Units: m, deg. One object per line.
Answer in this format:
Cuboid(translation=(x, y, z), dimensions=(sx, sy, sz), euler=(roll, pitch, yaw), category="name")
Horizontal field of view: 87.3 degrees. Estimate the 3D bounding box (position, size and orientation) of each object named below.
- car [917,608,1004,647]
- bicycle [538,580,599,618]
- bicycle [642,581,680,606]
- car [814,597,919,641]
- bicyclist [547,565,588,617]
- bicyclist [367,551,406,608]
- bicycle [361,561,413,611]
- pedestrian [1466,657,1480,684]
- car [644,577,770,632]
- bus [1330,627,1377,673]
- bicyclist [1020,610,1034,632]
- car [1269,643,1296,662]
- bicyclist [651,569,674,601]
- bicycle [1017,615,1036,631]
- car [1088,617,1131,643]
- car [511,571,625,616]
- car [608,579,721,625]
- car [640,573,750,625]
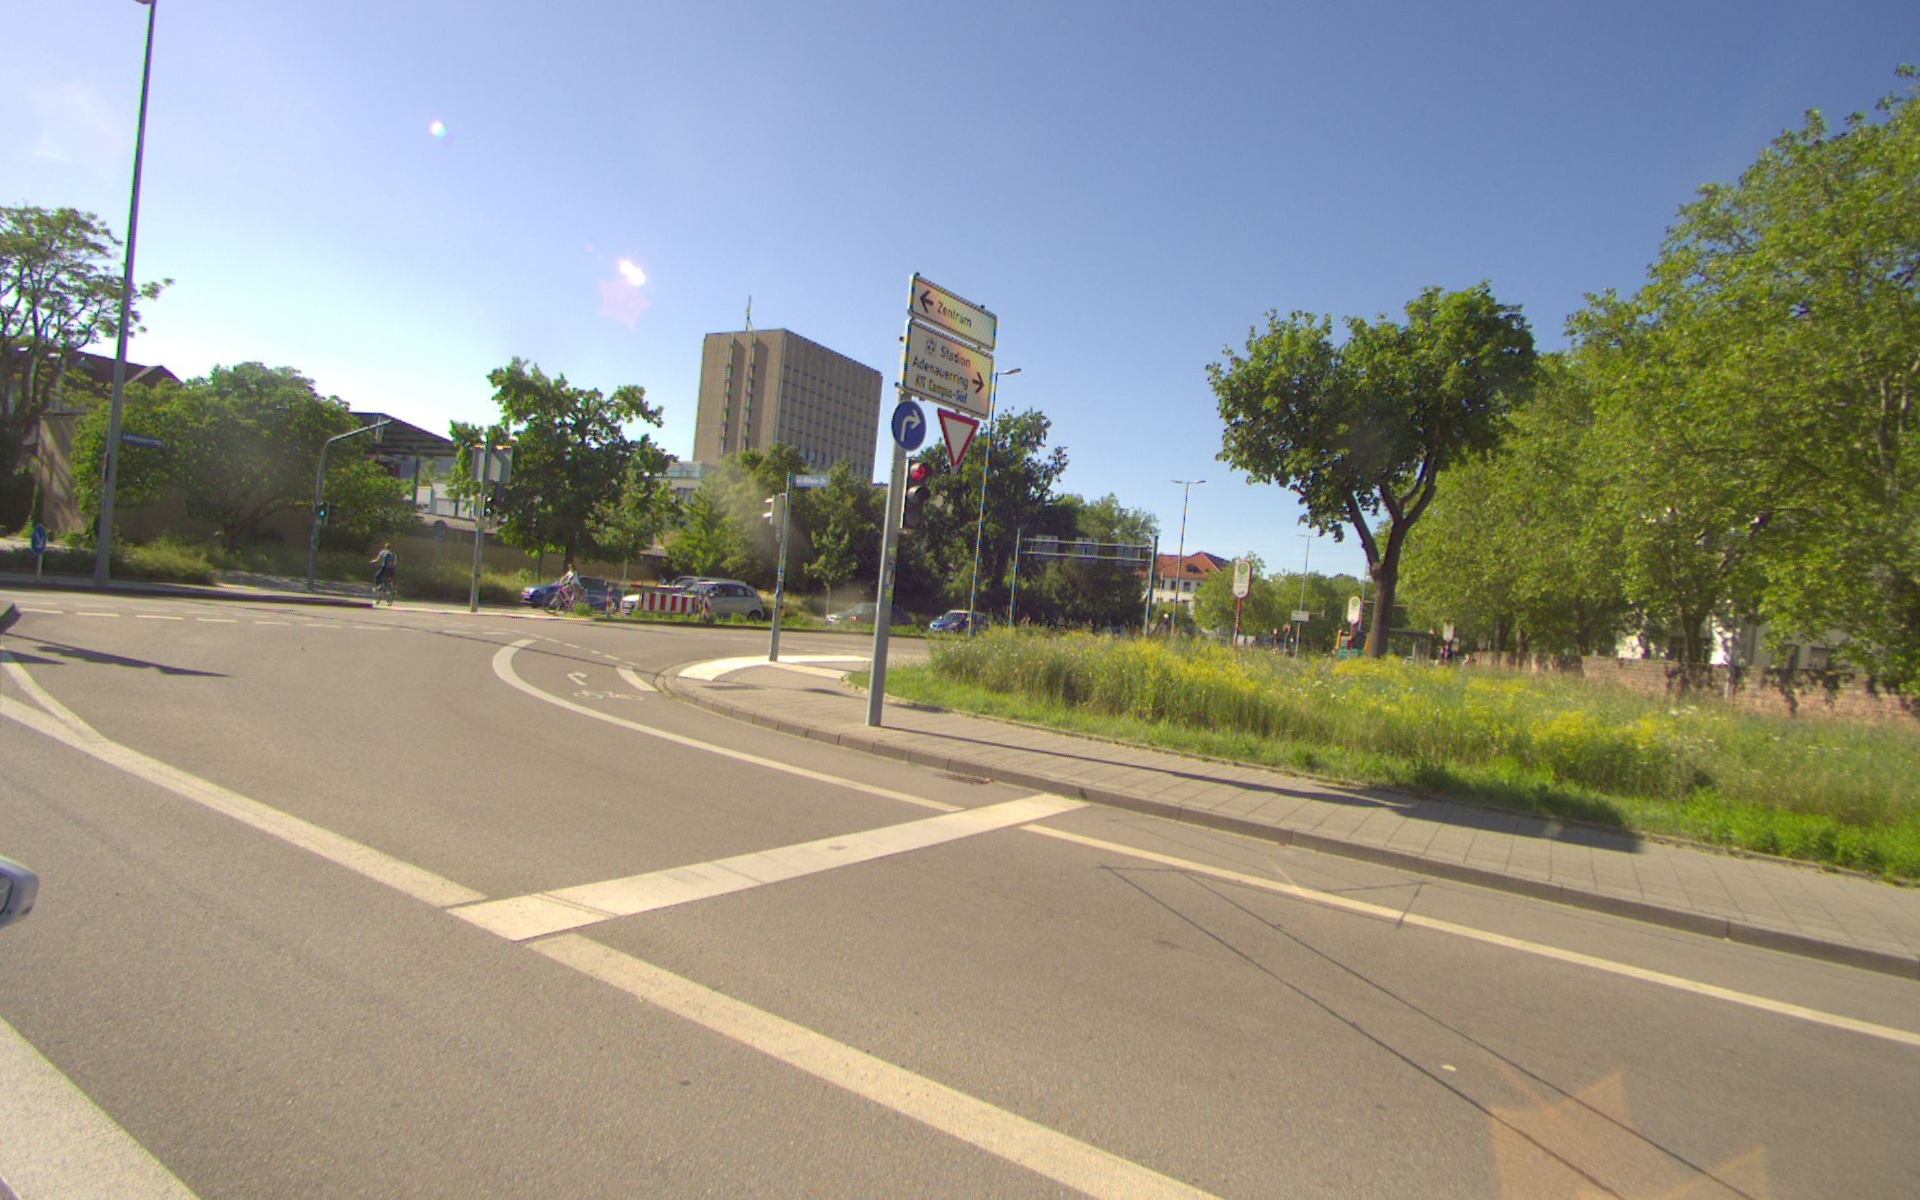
Cuboid(translation=(0.081, 1.398, 50.420), dimensions=(1.953, 1.573, 4.709), euler=(4, -2, 35), category="car")
Cuboid(translation=(-13.671, -0.014, 35.183), dimensions=(0.736, 1.180, 1.864), euler=(6, 1, 33), category="bicycle")
Cuboid(translation=(-15.920, -0.345, 53.565), dimensions=(0.632, 1.180, 1.952), euler=(9, 2, 30), category="bicycle")
Cuboid(translation=(-4.053, 0.879, 44.407), dimensions=(1.953, 1.573, 4.709), euler=(4, -2, 35), category="car")
Cuboid(translation=(-13.696, -0.320, 35.092), dimensions=(0.734, 1.707, 0.974), euler=(6, 2, 34), category="bicyclist")
Cuboid(translation=(-15.971, -0.575, 28.014), dimensions=(0.766, 1.463, 0.639), euler=(8, 3, 43), category="bicyclist")
Cuboid(translation=(-15.953, -0.387, 27.985), dimensions=(1.844, 1.180, 0.639), euler=(8, 2, 43), category="bicycle")
Cuboid(translation=(32.740, 4.490, 64.224), dimensions=(0.642, 1.630, 0.558), euler=(6, -1, 30), category="pedestrian")
Cuboid(translation=(-9.268, 0.193, 37.178), dimensions=(1.762, 1.644, 4.302), euler=(4, -2, 35), category="car")
Cuboid(translation=(33.096, 4.241, 84.495), dimensions=(2.935, 3.310, 6.255), euler=(6, -2, 26), category="bus")
Cuboid(translation=(5.406, 1.665, 81.095), dimensions=(0.633, 1.666, 0.774), euler=(6, 1, 33), category="bicyclist")
Cuboid(translation=(38.553, 6.257, 120.236), dimensions=(1.907, 1.976, 4.747), euler=(4, -2, 32), category="car")
Cuboid(translation=(-15.853, -0.779, 53.563), dimensions=(0.621, 1.617, 0.830), euler=(9, 3, 30), category="bicyclist")
Cuboid(translation=(5.368, 1.865, 81.078), dimensions=(0.632, 1.179, 1.865), euler=(6, 0, 32), category="bicycle")
Cuboid(translation=(12.307, 2.455, 82.751), dimensions=(1.907, 1.821, 4.352), euler=(4, -2, 30), category="car")
Cuboid(translation=(-15.970, -0.243, 41.141), dimensions=(1.679, 1.459, 3.988), euler=(4, -2, 35), category="car")
Cuboid(translation=(-12.163, 0.094, 41.515), dimensions=(1.972, 1.487, 3.981), euler=(5, 0, 40), category="car")
Cuboid(translation=(-12.252, -0.020, 46.796), dimensions=(1.909, 1.976, 4.742), euler=(4, -2, 35), category="car")
